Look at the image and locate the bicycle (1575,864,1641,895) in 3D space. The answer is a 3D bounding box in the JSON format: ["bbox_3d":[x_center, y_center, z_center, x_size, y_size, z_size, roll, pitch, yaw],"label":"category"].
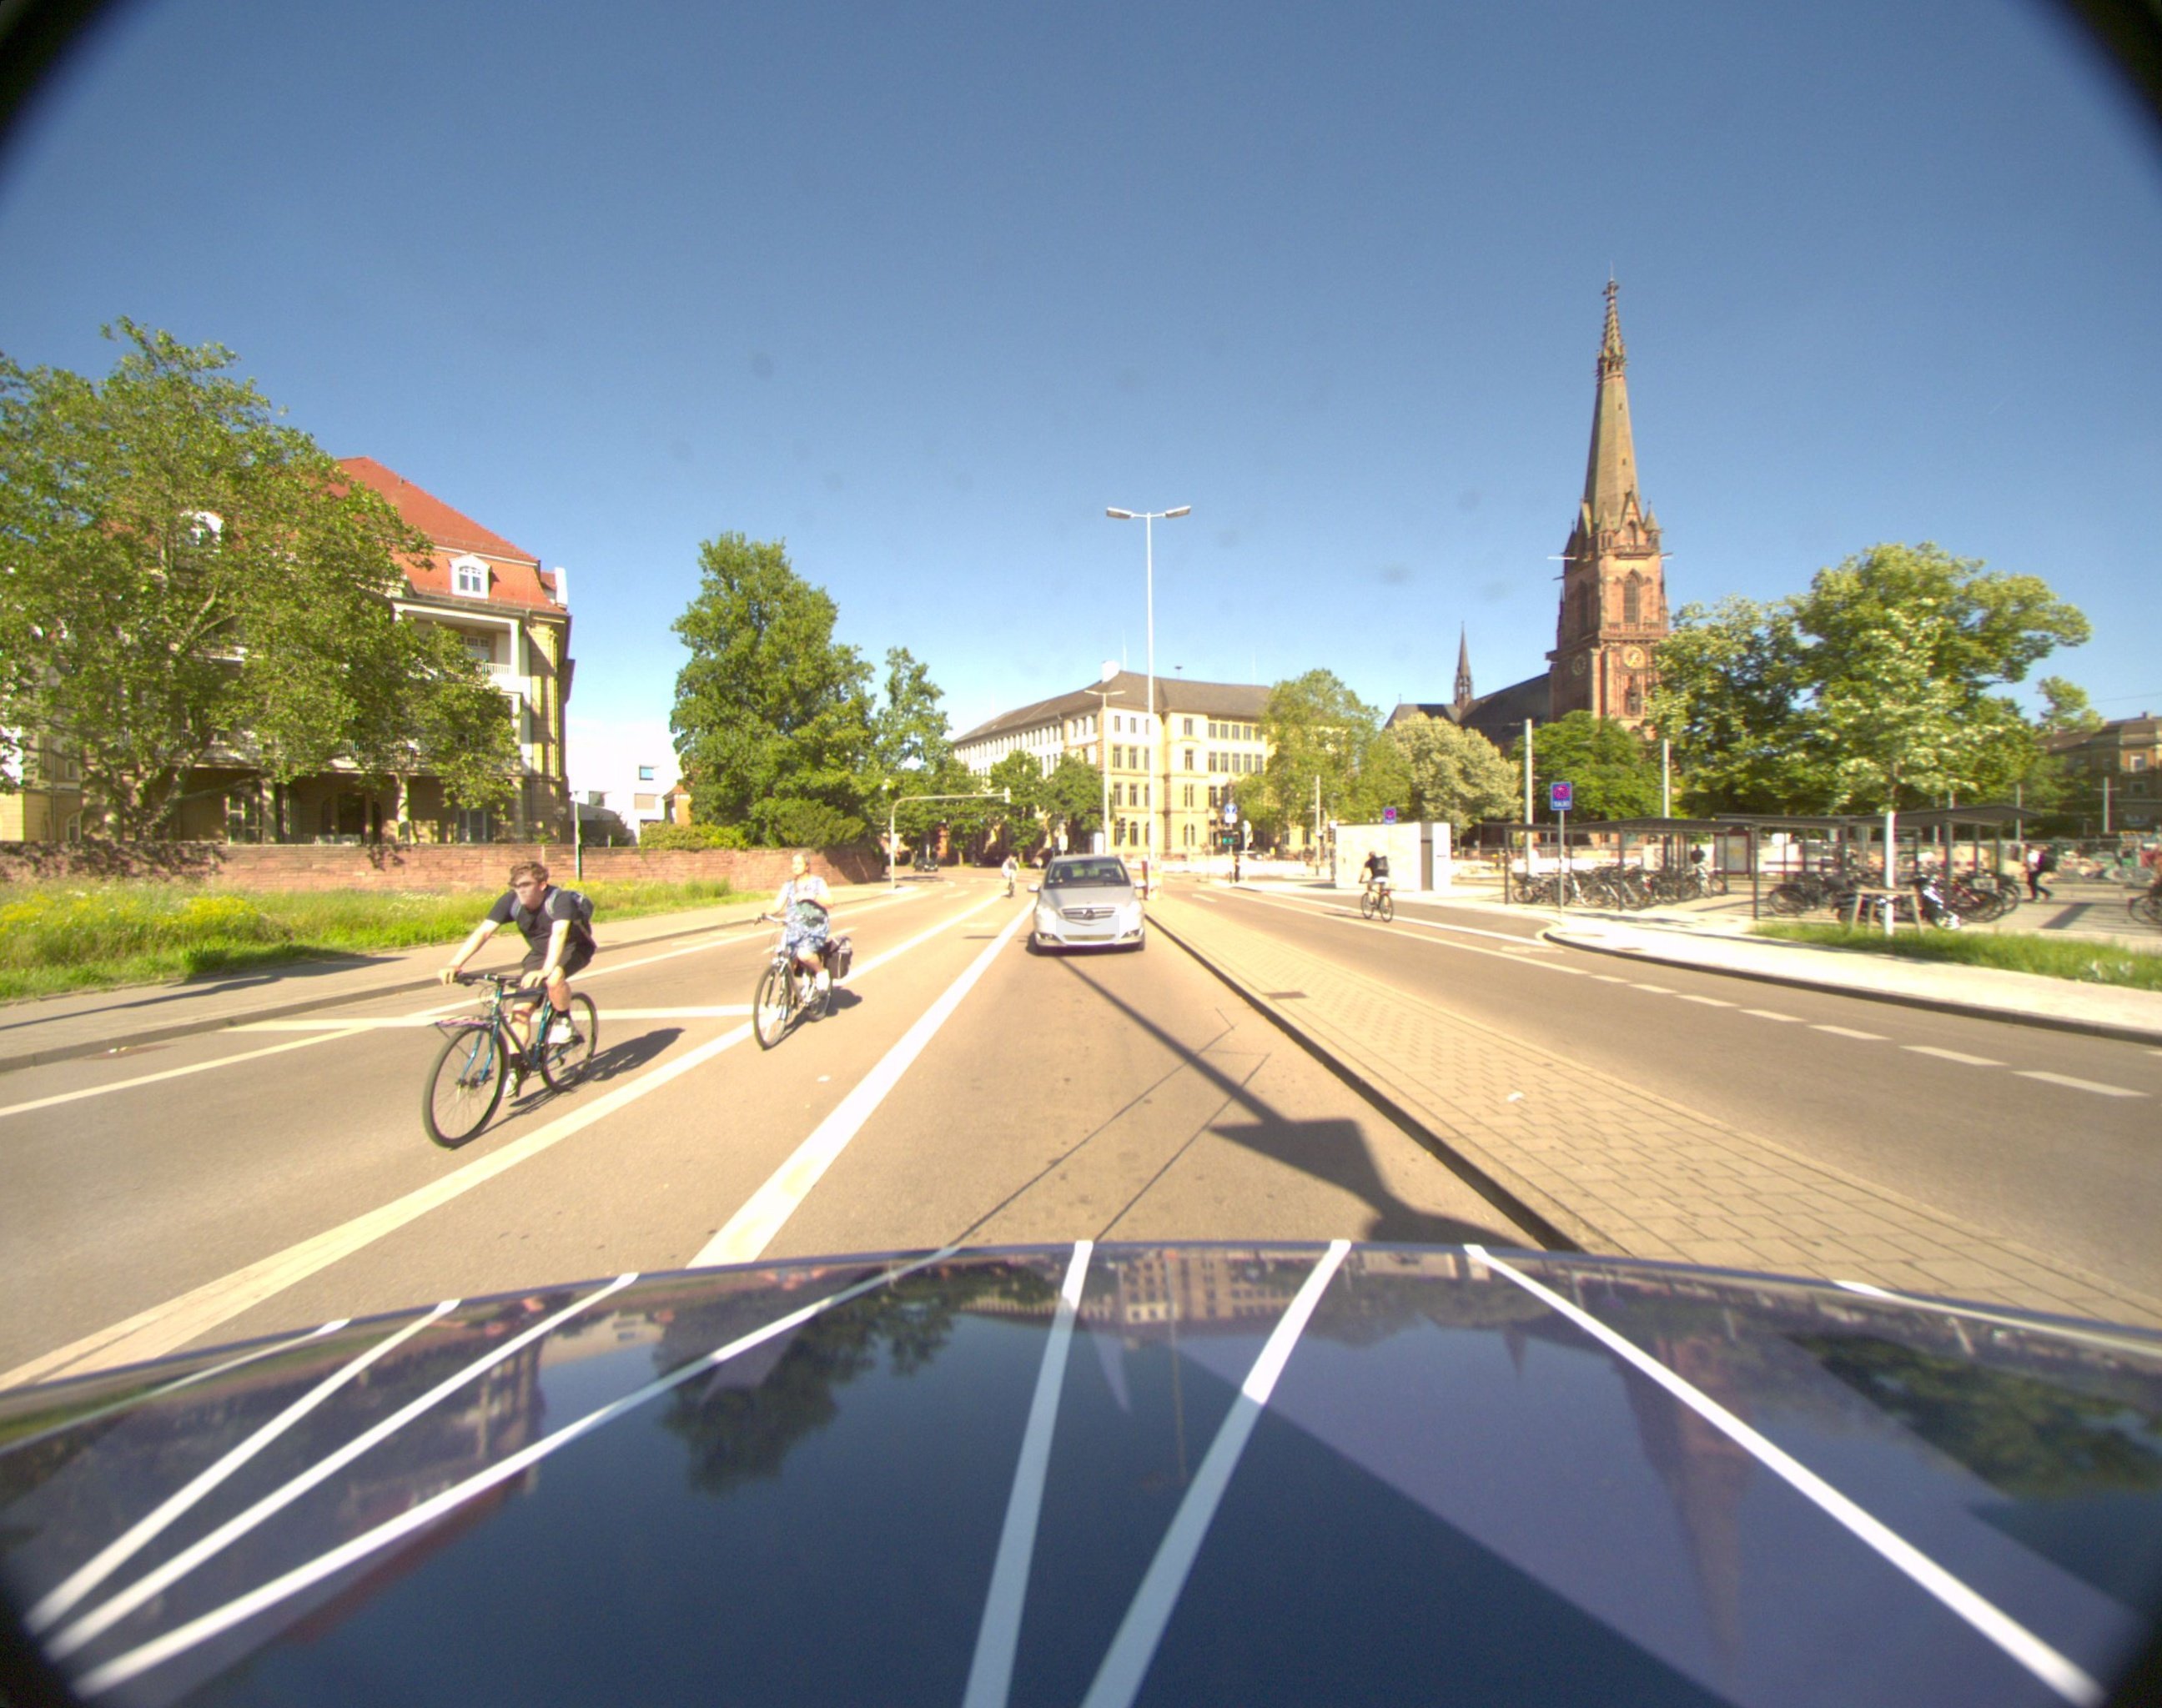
[{"bbox_3d":[18.416,0.877,26.571,0.569,1.032,1.783,0,1,-38],"label":"bicycle"}]

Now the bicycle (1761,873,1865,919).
[{"bbox_3d":[18.286,1.032,19.022,0.569,1.032,1.783,0,1,-38],"label":"bicycle"}]

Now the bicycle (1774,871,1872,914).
[{"bbox_3d":[19.783,0.998,20.297,0.569,1.032,1.783,0,1,-38],"label":"bicycle"}]

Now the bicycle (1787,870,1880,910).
[{"bbox_3d":[21.193,0.993,21.438,0.569,1.032,1.783,0,1,-38],"label":"bicycle"}]

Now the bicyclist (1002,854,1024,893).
[{"bbox_3d":[-2.818,0.790,31.438,0.778,1.543,0.919,-2,1,0],"label":"bicyclist"}]

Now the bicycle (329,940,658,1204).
[{"bbox_3d":[-3.595,1.245,4.912,0.642,1.158,1.870,-2,0,-1],"label":"bicycle"}]

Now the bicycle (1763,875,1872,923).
[{"bbox_3d":[17.517,1.048,18.105,0.569,1.032,1.783,0,1,-38],"label":"bicycle"}]

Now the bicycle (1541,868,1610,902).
[{"bbox_3d":[16.000,0.984,24.619,0.569,1.032,1.783,0,1,-38],"label":"bicycle"}]

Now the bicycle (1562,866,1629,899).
[{"bbox_3d":[17.473,0.961,25.826,0.569,1.032,1.783,0,1,-38],"label":"bicycle"}]

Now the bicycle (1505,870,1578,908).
[{"bbox_3d":[13.854,1.031,22.923,0.569,1.032,1.783,0,1,-38],"label":"bicycle"}]

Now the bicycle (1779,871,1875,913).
[{"bbox_3d":[20.274,1.012,20.672,0.569,1.032,1.783,0,1,-38],"label":"bicycle"}]

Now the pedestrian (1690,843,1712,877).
[{"bbox_3d":[30.299,0.289,37.132,0.567,1.645,0.518,-3,1,0],"label":"pedestrian"}]

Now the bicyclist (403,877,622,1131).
[{"bbox_3d":[-3.599,0.889,4.903,0.643,1.436,0.953,-2,0,-1],"label":"bicyclist"}]

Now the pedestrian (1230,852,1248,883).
[{"bbox_3d":[8.732,0.718,42.107,0.790,1.671,0.648,-3,1,1],"label":"pedestrian"}]

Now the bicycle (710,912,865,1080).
[{"bbox_3d":[-2.611,1.204,7.016,0.642,1.158,1.967,-2,0,-1],"label":"bicycle"}]

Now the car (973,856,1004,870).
[{"bbox_3d":[-12.566,1.222,103.313,1.994,1.805,3.809,0,1,42],"label":"car"}]

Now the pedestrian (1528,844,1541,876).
[{"bbox_3d":[24.257,0.330,40.659,0.537,1.712,0.683,-2,-4,29],"label":"pedestrian"}]

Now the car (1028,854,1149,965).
[{"bbox_3d":[0.118,0.833,13.680,1.771,1.584,4.638,-1,0,0],"label":"car"}]

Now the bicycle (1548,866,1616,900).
[{"bbox_3d":[16.472,0.947,25.019,0.569,1.032,1.783,0,1,-38],"label":"bicycle"}]

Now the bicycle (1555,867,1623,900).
[{"bbox_3d":[16.956,0.962,25.404,0.569,1.032,1.783,0,1,-38],"label":"bicycle"}]

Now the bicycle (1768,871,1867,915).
[{"bbox_3d":[19.239,0.993,19.893,0.569,1.032,1.783,0,1,-38],"label":"bicycle"}]

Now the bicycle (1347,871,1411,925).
[{"bbox_3d":[7.053,1.017,18.090,0.748,1.158,1.870,1,1,0],"label":"bicycle"}]

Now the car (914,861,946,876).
[{"bbox_3d":[-16.693,1.595,83.919,2.003,1.464,4.288,-3,1,-32],"label":"car"}]

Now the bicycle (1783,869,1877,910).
[{"bbox_3d":[20.732,0.965,21.060,0.569,1.032,1.783,0,1,-38],"label":"bicycle"}]

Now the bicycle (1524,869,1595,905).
[{"bbox_3d":[14.966,1.006,23.793,0.569,1.032,1.783,0,1,-38],"label":"bicycle"}]

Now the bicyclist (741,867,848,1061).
[{"bbox_3d":[-2.609,0.962,6.996,0.643,1.653,0.776,-1,1,-1],"label":"bicyclist"}]

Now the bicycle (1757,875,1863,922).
[{"bbox_3d":[17.843,1.056,18.637,0.569,1.032,1.783,0,1,-38],"label":"bicycle"}]

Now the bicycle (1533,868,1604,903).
[{"bbox_3d":[15.511,0.989,24.217,0.569,1.032,1.783,0,1,-38],"label":"bicycle"}]

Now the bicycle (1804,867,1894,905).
[{"bbox_3d":[22.535,0.915,22.332,0.569,1.032,1.783,0,1,-38],"label":"bicycle"}]

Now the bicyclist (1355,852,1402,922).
[{"bbox_3d":[7.055,0.773,18.059,0.721,1.612,0.977,0,1,0],"label":"bicyclist"}]

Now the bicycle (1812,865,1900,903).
[{"bbox_3d":[23.180,0.879,22.760,0.569,1.032,1.783,0,1,-38],"label":"bicycle"}]

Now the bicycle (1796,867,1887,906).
[{"bbox_3d":[21.914,0.930,21.938,0.569,1.032,1.783,0,1,-38],"label":"bicycle"}]

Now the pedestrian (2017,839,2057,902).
[{"bbox_3d":[26.631,0.446,21.183,0.619,1.713,0.680,-2,1,-39],"label":"pedestrian"}]

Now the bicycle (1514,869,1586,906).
[{"bbox_3d":[14.371,1.017,23.323,0.569,1.032,1.783,0,1,-38],"label":"bicycle"}]
